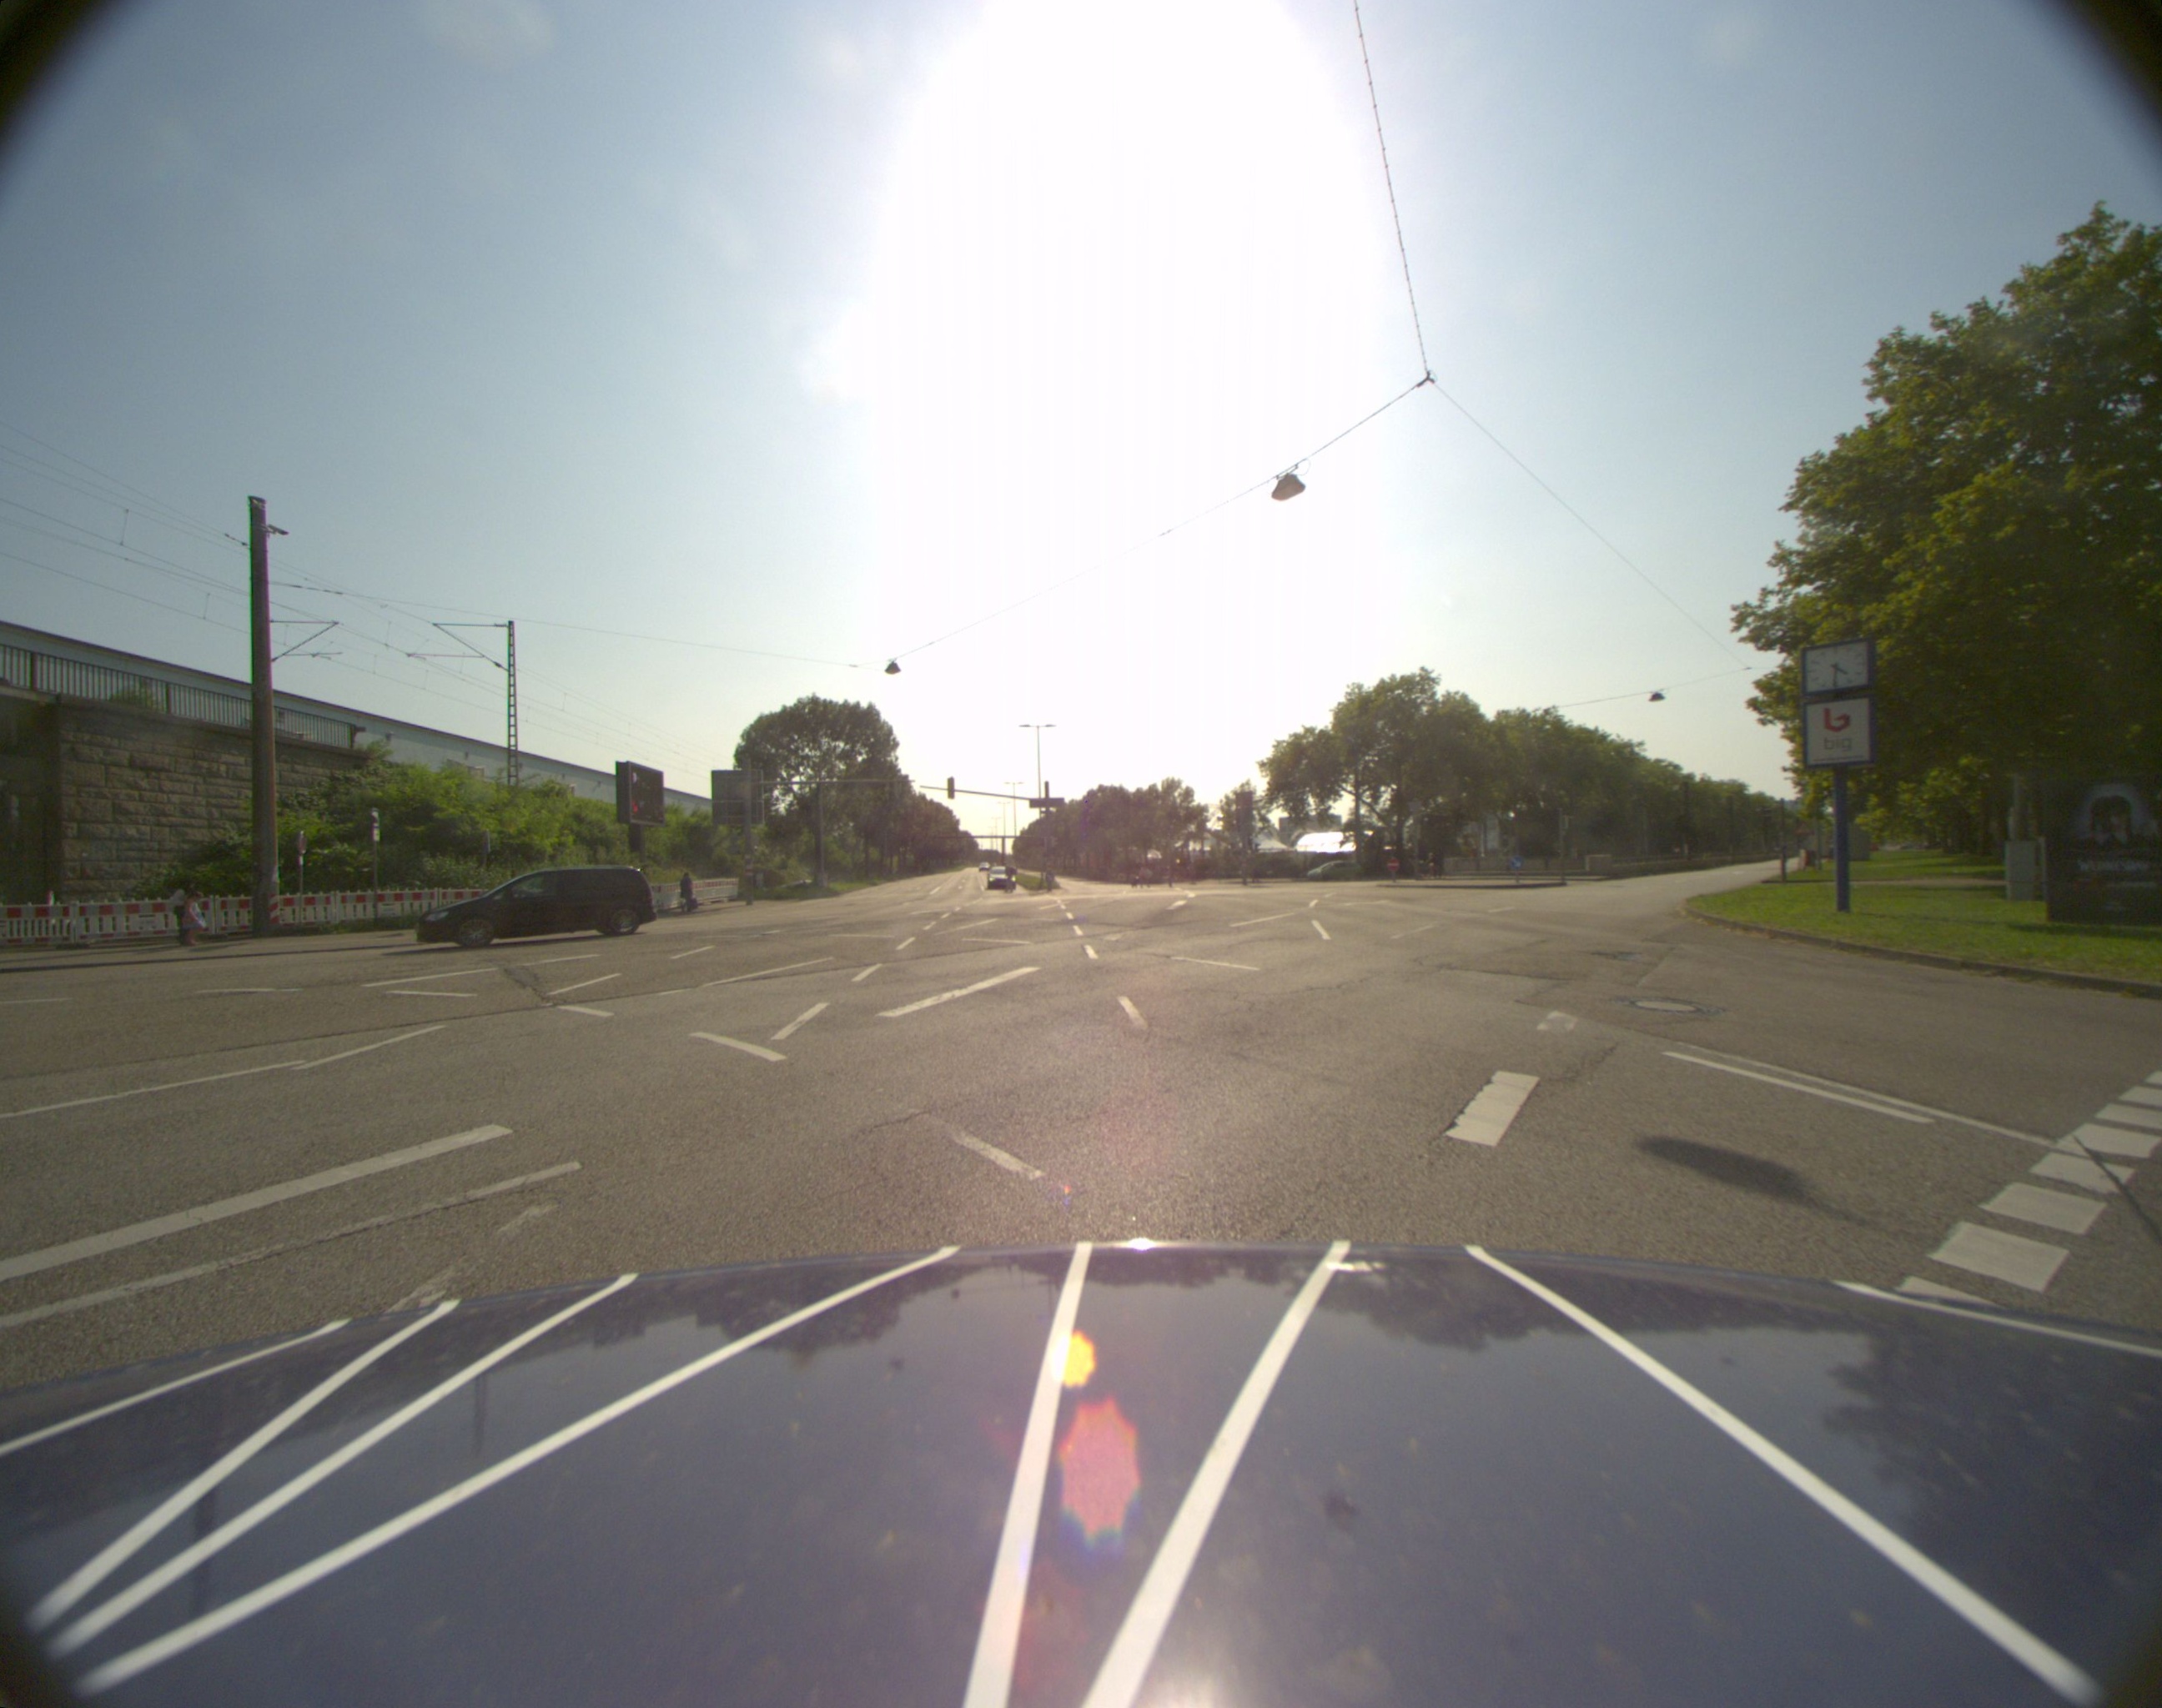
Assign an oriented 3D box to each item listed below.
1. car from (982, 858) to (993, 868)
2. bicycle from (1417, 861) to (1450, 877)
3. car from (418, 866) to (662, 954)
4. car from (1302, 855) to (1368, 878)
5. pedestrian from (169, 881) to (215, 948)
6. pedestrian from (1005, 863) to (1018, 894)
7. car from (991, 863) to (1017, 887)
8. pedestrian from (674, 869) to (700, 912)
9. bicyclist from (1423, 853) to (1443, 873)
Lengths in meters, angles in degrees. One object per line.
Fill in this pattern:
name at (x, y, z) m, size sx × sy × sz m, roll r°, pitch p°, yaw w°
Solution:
car at (-16.720, 1.620, 136.335) m, size 1.866 × 1.584 × 3.998 m, roll -1°, pitch 0°, yaw -6°
bicycle at (19.876, 0.823, 42.866) m, size 0.531 × 0.860 × 1.733 m, roll -1°, pitch 0°, yaw -29°
car at (-11.968, 1.166, 16.982) m, size 4.203 × 1.578 × 1.777 m, roll -2°, pitch -2°, yaw -43°
car at (18.154, 0.897, 54.481) m, size 3.999 × 1.543 × 1.999 m, roll -1°, pitch 0°, yaw -7°
pedestrian at (-21.703, 1.463, 18.568) m, size 0.636 × 1.565 × 0.489 m, roll -3°, pitch 2°, yaw -45°
pedestrian at (-3.926, 1.369, 42.745) m, size 0.647 × 1.715 × 0.586 m, roll -1°, pitch 1°, yaw -10°
car at (-4.959, 1.346, 49.374) m, size 1.545 × 1.433 × 3.393 m, roll -1°, pitch 0°, yaw -5°
pedestrian at (-14.743, 1.357, 28.467) m, size 0.650 × 1.565 × 0.759 m, roll 0°, pitch 1°, yaw -9°
bicyclist at (19.854, 0.500, 42.887) m, size 0.522 × 1.134 × 0.907 m, roll -2°, pitch 1°, yaw -29°
